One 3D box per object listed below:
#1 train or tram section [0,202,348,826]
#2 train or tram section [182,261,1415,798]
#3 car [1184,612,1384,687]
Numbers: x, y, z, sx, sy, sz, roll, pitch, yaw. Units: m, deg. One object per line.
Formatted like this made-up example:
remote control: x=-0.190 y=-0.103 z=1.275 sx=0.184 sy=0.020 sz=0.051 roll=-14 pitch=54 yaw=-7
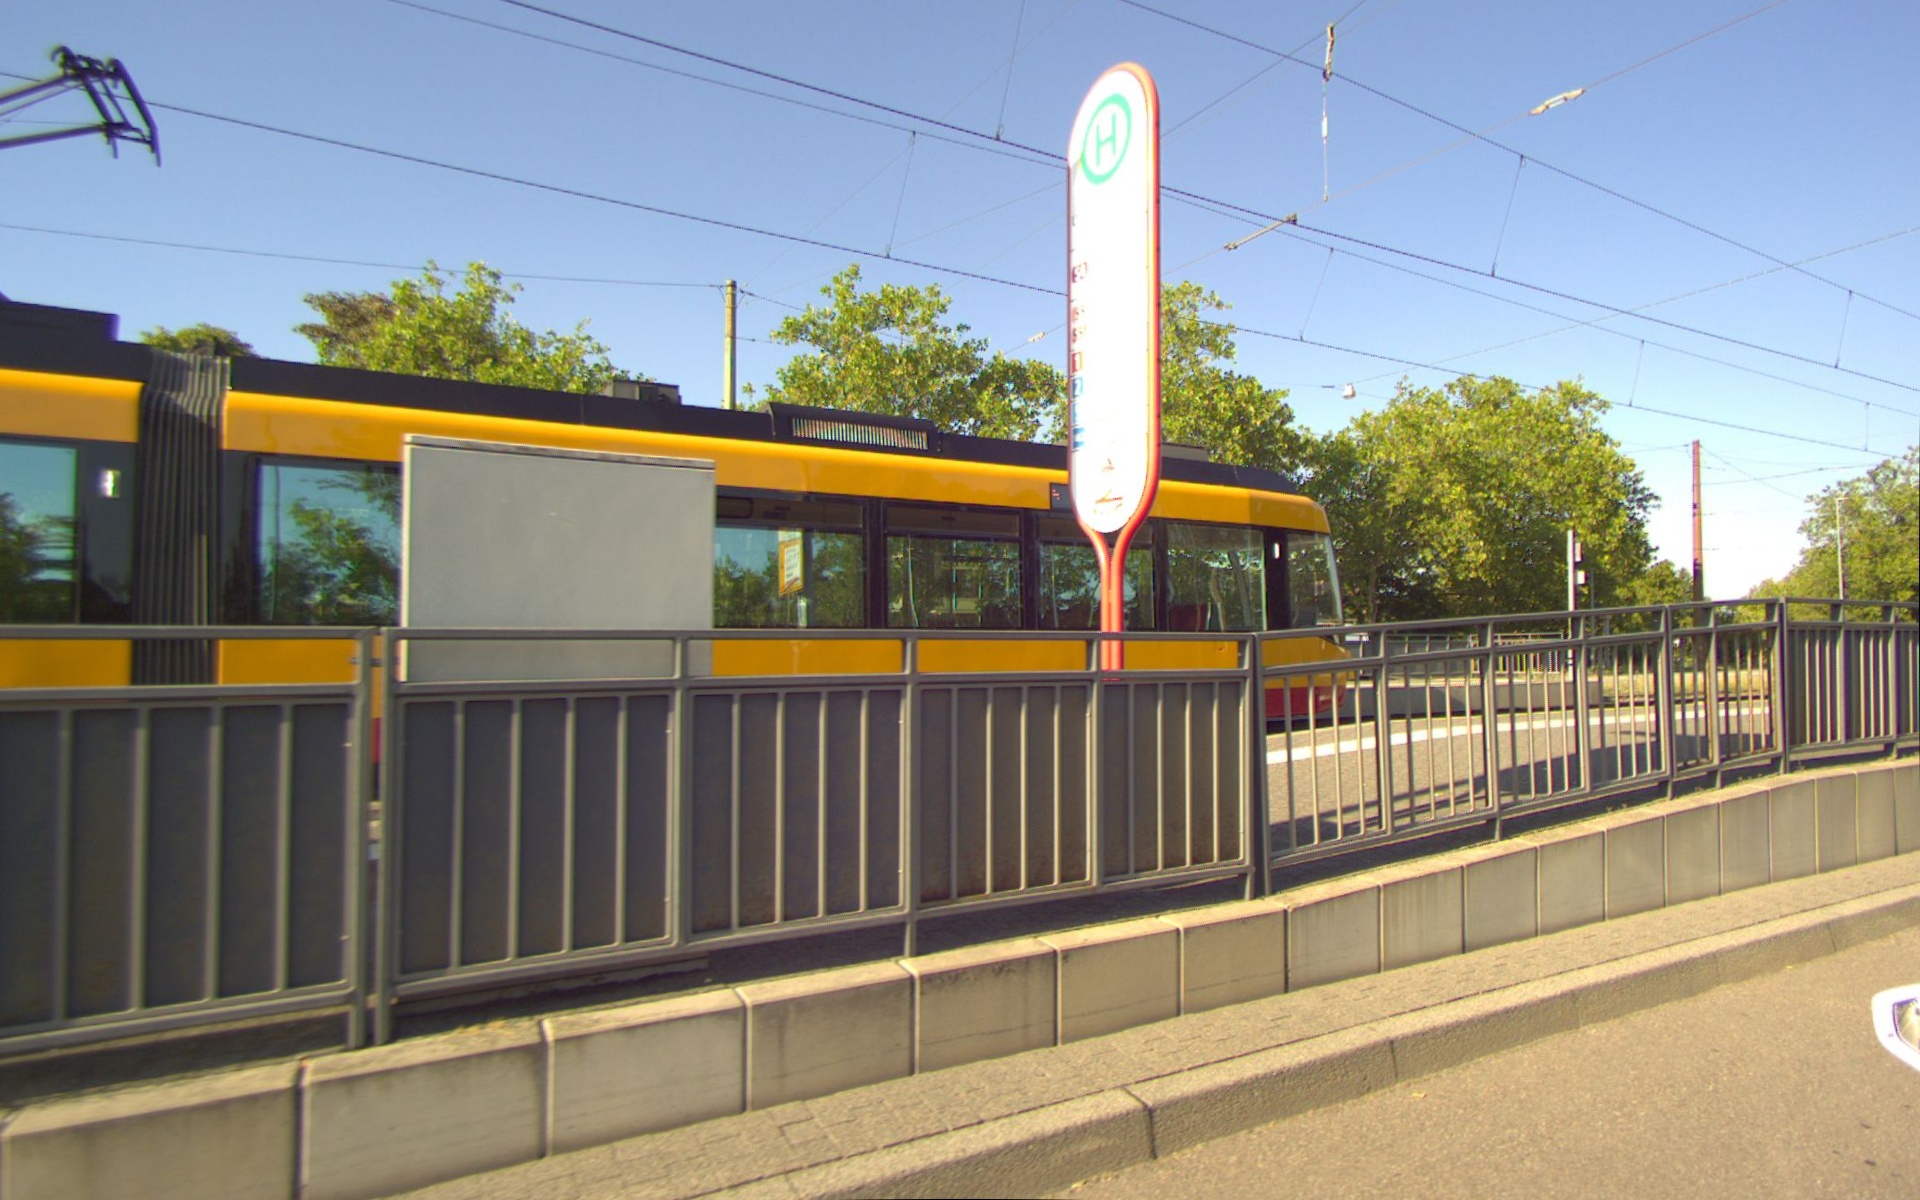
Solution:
train or tram section: x=-12.298 y=-0.685 z=4.881 sx=15.676 sy=4.059 sz=2.816 roll=1 pitch=-1 yaw=-28
train or tram section: x=-0.381 y=-0.348 z=11.277 sx=12.806 sy=3.736 sz=2.816 roll=1 pitch=-1 yaw=-28
car: x=7.457 y=1.097 z=23.076 sx=4.281 sy=1.582 sz=1.985 roll=1 pitch=-1 yaw=-29
